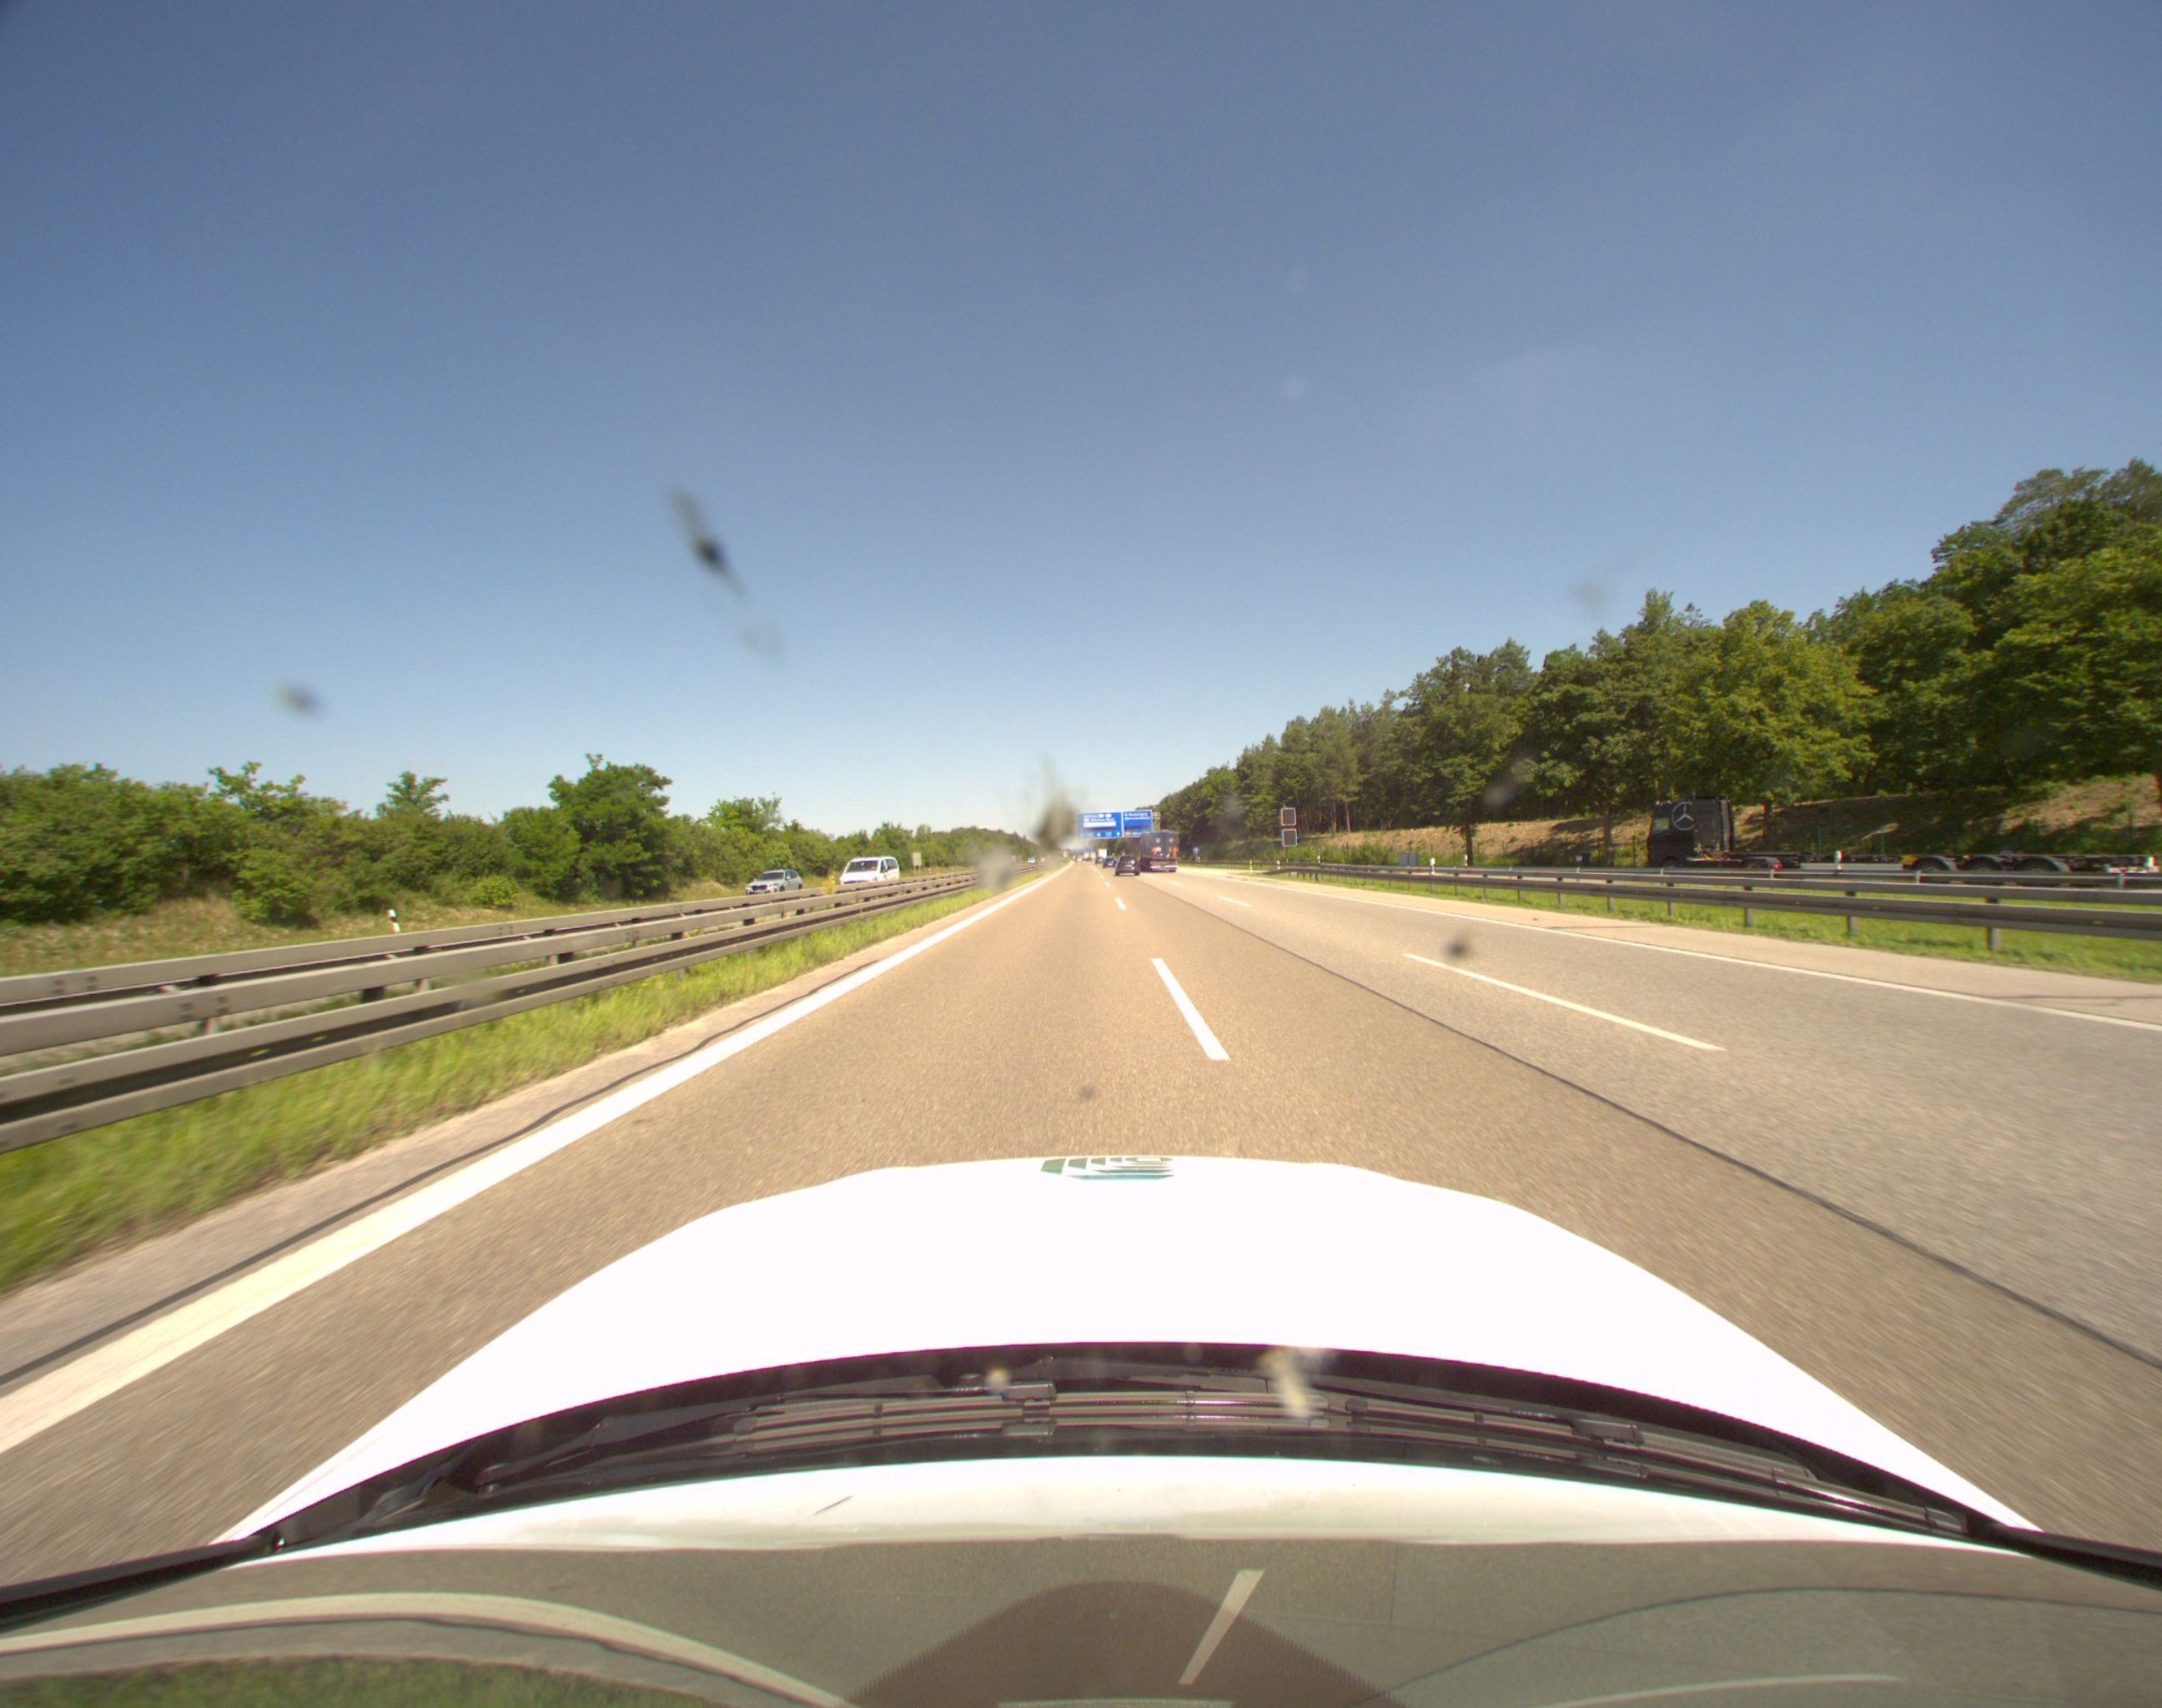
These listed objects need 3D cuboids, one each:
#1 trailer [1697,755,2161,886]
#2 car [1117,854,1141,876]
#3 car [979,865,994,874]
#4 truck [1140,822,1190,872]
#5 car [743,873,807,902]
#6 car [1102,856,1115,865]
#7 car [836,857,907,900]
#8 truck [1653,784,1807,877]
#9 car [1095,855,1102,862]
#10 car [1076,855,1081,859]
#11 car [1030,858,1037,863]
[{"bbox_3d":[30.321,-0.983,30.751,2.573,3.915,12.697,-1,0,-12],"label":"trailer"},{"bbox_3d":[3.839,0.836,64.645,1.791,1.669,4.263,-1,0,4],"label":"car"},{"bbox_3d":[-17.015,2.754,146.416,1.986,1.593,4.301,-2,0,1],"label":"car"},{"bbox_3d":[8.043,-0.638,79.718,3.766,4.422,14.056,-1,0,2],"label":"truck"},{"bbox_3d":[-17.252,1.845,46.191,1.781,1.439,4.522,-2,0,2],"label":"car"},{"bbox_3d":[3.664,0.817,110.229,1.702,1.155,3.690,-2,0,2],"label":"car"},{"bbox_3d":[-9.971,1.089,39.257,1.913,1.872,5.517,-2,0,1],"label":"car"},{"bbox_3d":[29.082,-0.996,36.730,2.574,3.915,4.846,-1,0,-12],"label":"truck"},{"bbox_3d":[3.612,0.913,167.771,1.465,1.398,3.411,1,0,2],"label":"car"},{"bbox_3d":[-0.758,0.988,255.874,1.465,1.227,3.411,-2,0,2],"label":"car"},{"bbox_3d":[-13.086,1.914,225.917,1.598,1.299,3.792,-1,0,1],"label":"car"}]
